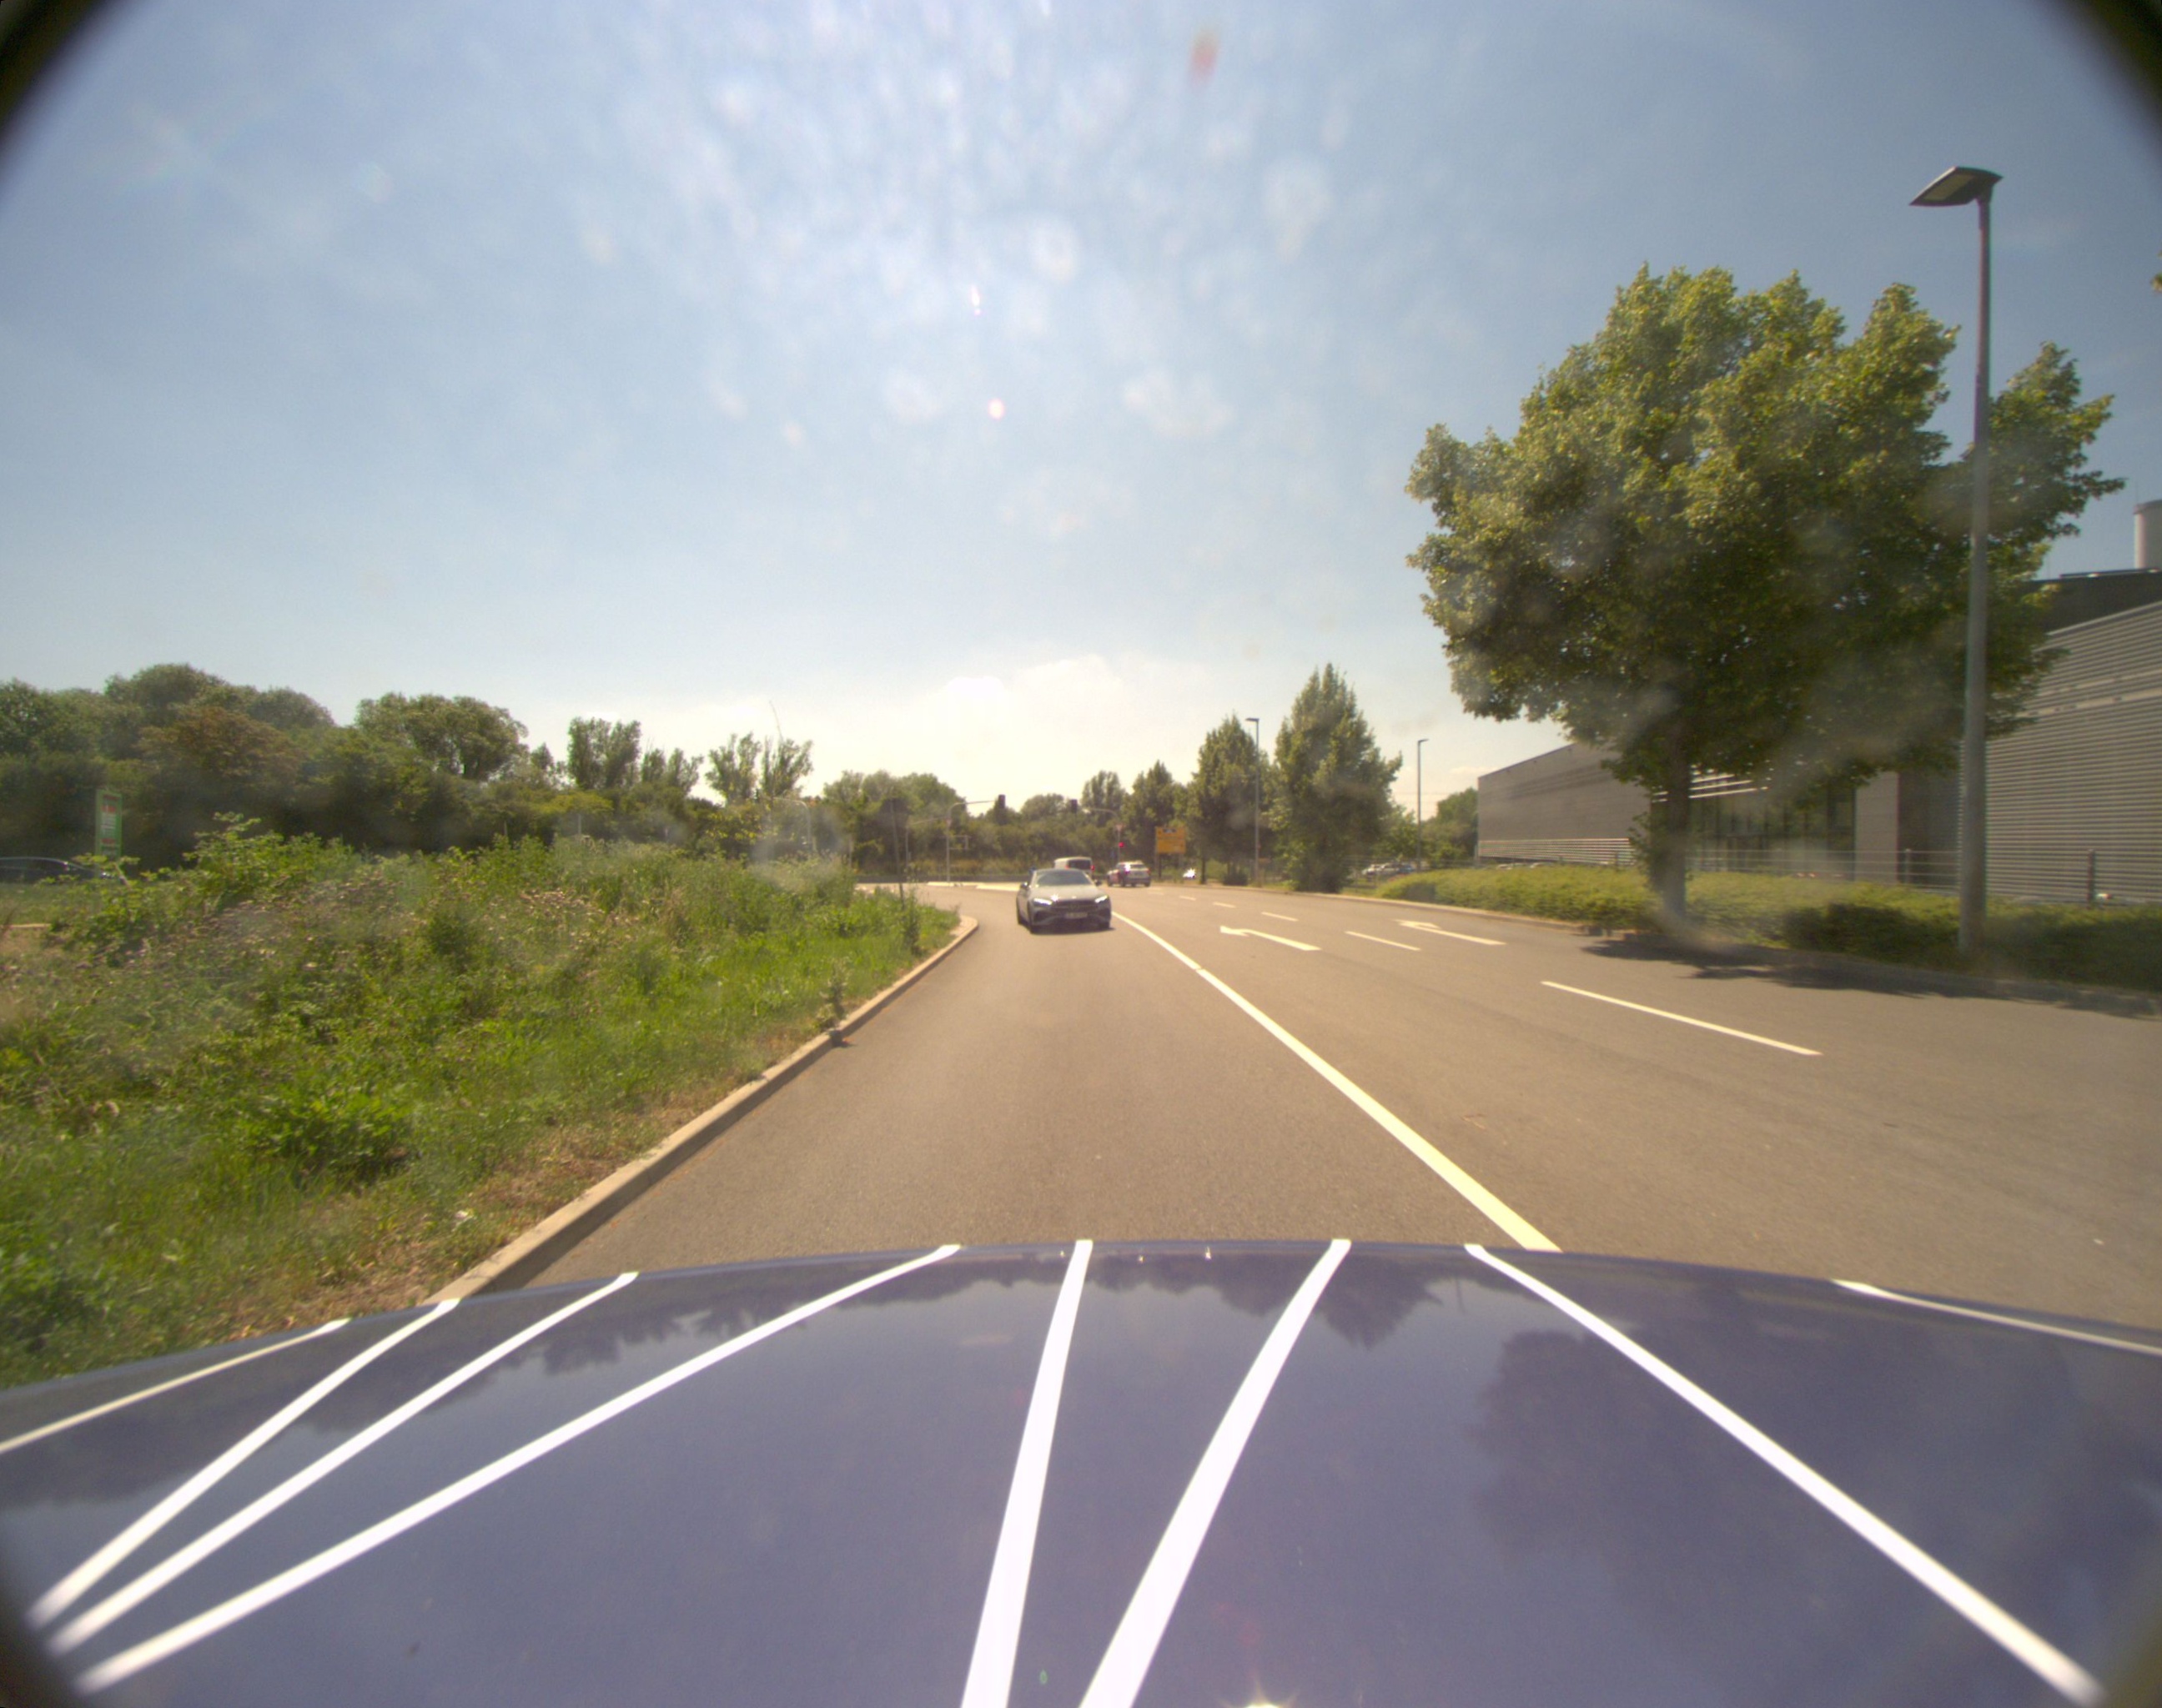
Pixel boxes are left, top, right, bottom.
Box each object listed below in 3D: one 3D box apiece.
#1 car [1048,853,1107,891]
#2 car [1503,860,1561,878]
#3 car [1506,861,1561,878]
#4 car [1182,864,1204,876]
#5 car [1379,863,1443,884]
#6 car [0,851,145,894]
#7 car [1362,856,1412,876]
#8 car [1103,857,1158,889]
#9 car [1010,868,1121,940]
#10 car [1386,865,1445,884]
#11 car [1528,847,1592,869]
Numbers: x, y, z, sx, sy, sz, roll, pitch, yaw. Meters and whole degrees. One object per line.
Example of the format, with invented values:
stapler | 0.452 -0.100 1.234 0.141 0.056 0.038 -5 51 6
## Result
car | -0.298 1.008 45.228 2.001 1.932 4.863 -4 2 -18
car | 39.890 1.320 67.249 3.993 1.477 2.003 0 -2 11
car | 41.186 1.446 69.257 3.993 1.451 1.774 0 -2 11
car | 16.972 2.392 115.060 1.995 1.772 4.009 0 -2 27
car | 24.152 1.445 55.687 3.993 1.477 2.003 0 -2 11
car | -40.917 0.757 30.472 4.009 1.630 1.777 3 -3 -44
car | 27.903 1.118 69.417 3.993 1.695 2.003 0 -2 11
car | 2.989 1.131 46.754 2.001 1.698 3.858 -4 2 -18
car | -0.528 1.114 18.755 1.923 1.433 4.478 -3 0 -11
car | 26.649 1.654 60.724 3.993 1.477 2.003 0 -2 11
car | 39.635 0.318 62.939 3.994 1.507 1.922 -4 -3 11
